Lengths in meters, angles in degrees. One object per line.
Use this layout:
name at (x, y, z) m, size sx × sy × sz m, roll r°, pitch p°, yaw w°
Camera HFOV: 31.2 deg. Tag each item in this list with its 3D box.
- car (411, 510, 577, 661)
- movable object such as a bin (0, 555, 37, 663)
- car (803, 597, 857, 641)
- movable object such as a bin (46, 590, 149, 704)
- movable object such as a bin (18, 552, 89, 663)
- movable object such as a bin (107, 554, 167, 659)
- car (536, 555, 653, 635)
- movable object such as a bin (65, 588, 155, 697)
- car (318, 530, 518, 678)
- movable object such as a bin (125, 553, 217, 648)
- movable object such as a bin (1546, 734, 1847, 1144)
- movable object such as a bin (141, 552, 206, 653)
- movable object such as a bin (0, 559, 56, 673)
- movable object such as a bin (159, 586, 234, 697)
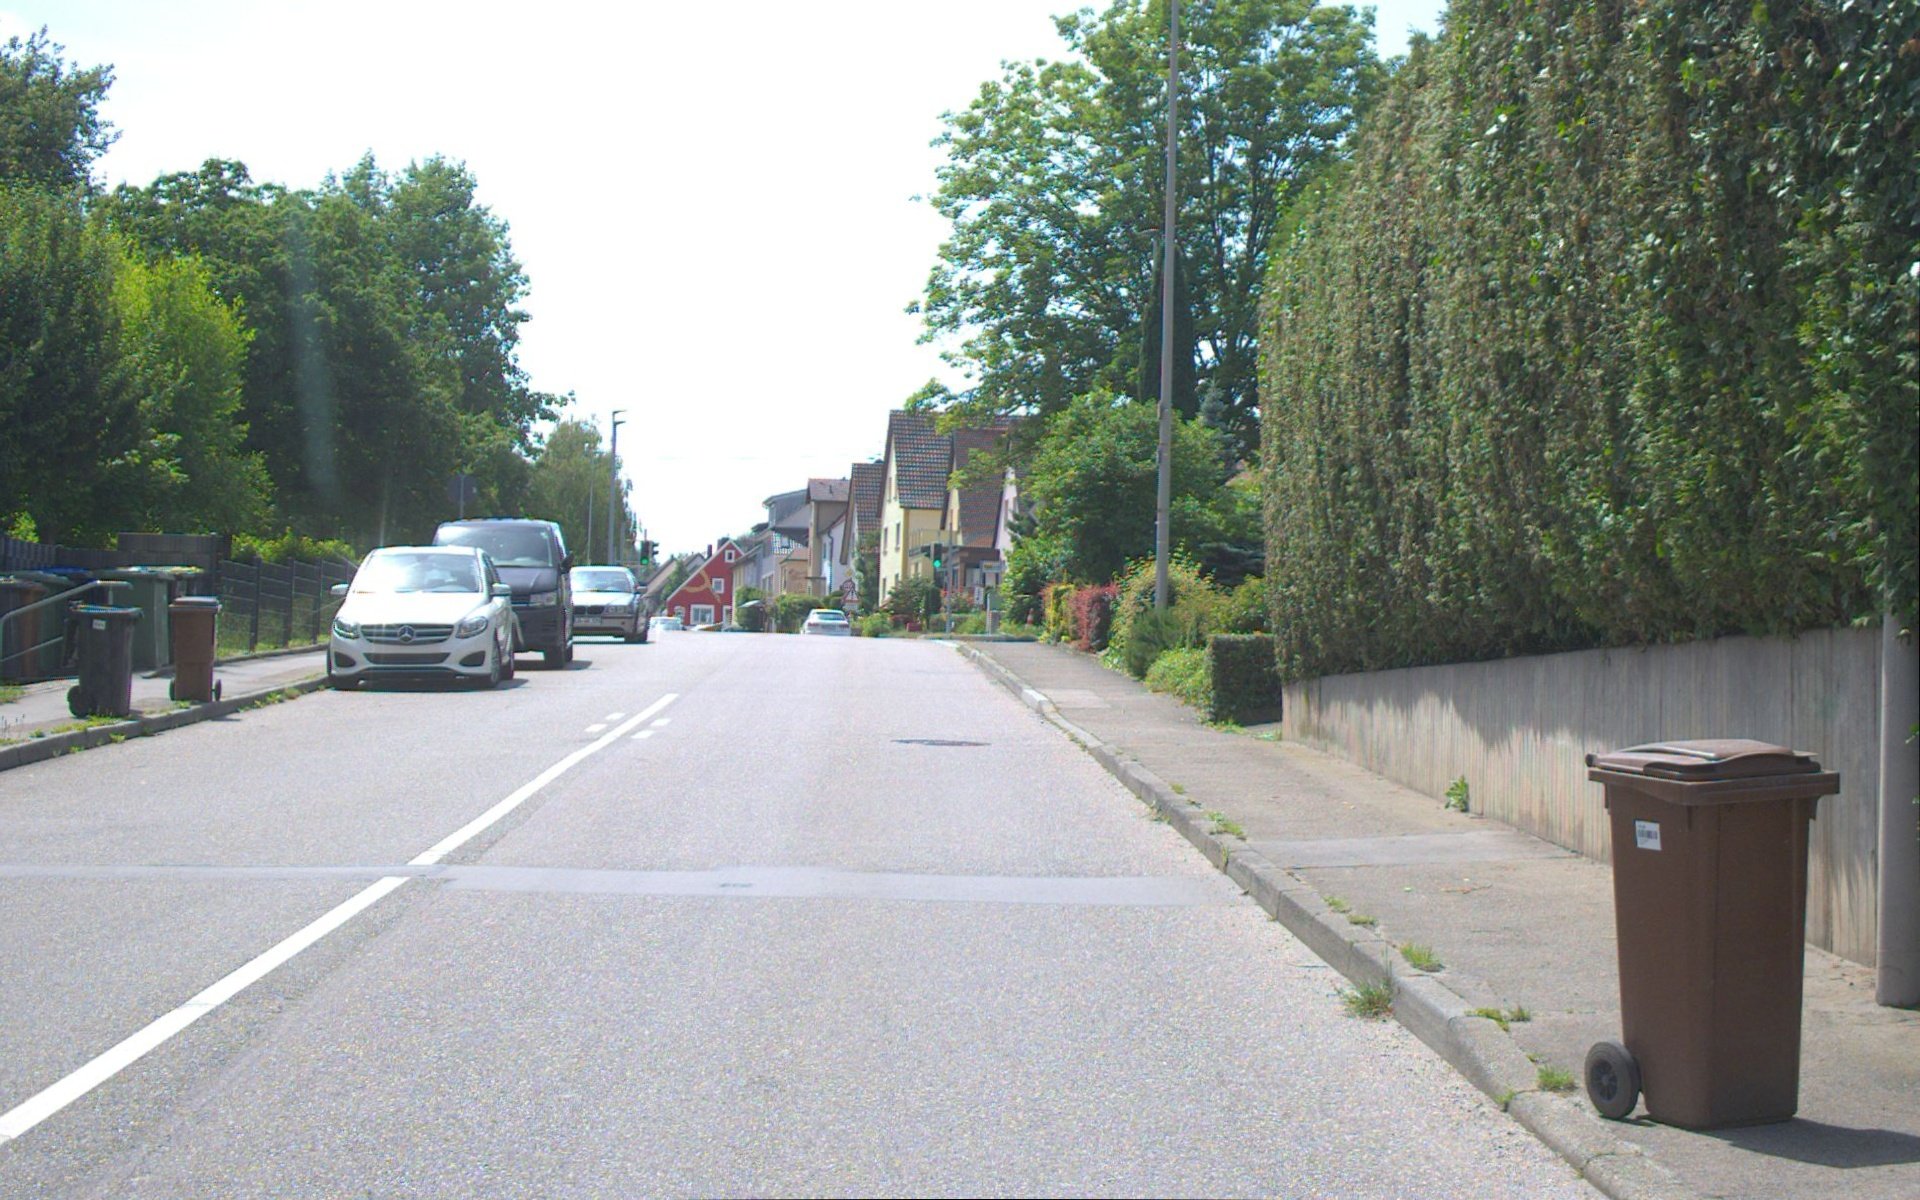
car at (-6.209, -0.223, 46.231) m, size 1.896 × 1.913 × 4.871 m, roll 0°, pitch 1°, yaw -4°
movable object such as a bin at (-9.891, 0.085, 35.294) m, size 0.603 × 1.092 × 0.650 m, roll 1°, pitch 0°, yaw 5°
car at (-5.059, 0.725, 133.413) m, size 1.993 × 1.598 × 4.000 m, roll 1°, pitch 0°, yaw -3°
movable object such as a bin at (-7.132, 0.385, 28.444) m, size 0.619 × 0.914 × 0.686 m, roll 1°, pitch 0°, yaw 5°
movable object such as a bin at (-9.718, 0.077, 36.866) m, size 0.476 × 1.174 × 0.840 m, roll 1°, pitch 0°, yaw 4°
movable object such as a bin at (-8.762, 0.066, 36.591) m, size 0.516 × 1.100 × 0.529 m, roll 1°, pitch 0°, yaw -2°
car at (-6.659, -0.082, 62.980) m, size 1.780 × 1.390 × 4.409 m, roll 1°, pitch 0°, yaw -2°
movable object such as a bin at (-7.315, 0.362, 29.614) m, size 0.563 × 0.914 × 0.642 m, roll 1°, pitch 0°, yaw 5°
car at (-6.076, 0.010, 38.934) m, size 1.811 × 1.544 × 4.244 m, roll 1°, pitch 1°, yaw -4°
movable object such as a bin at (-9.039, 0.004, 39.393) m, size 0.899 × 1.066 × 0.695 m, roll 1°, pitch 0°, yaw -2°
movable object such as a bin at (1.902, 0.859, 8.958) m, size 0.588 × 0.974 × 0.786 m, roll -1°, pitch 0°, yaw -2°
movable object such as a bin at (-8.687, 0.027, 37.977) m, size 0.497 × 1.101 × 0.710 m, roll -1°, pitch -1°, yaw 5°
movable object such as a bin at (-9.864, 0.157, 36.024) m, size 0.547 × 1.174 × 0.674 m, roll 1°, pitch 0°, yaw 4°
movable object such as a bin at (-6.907, 0.369, 31.126) m, size 0.506 × 0.985 × 0.563 m, roll 1°, pitch 0°, yaw 5°
